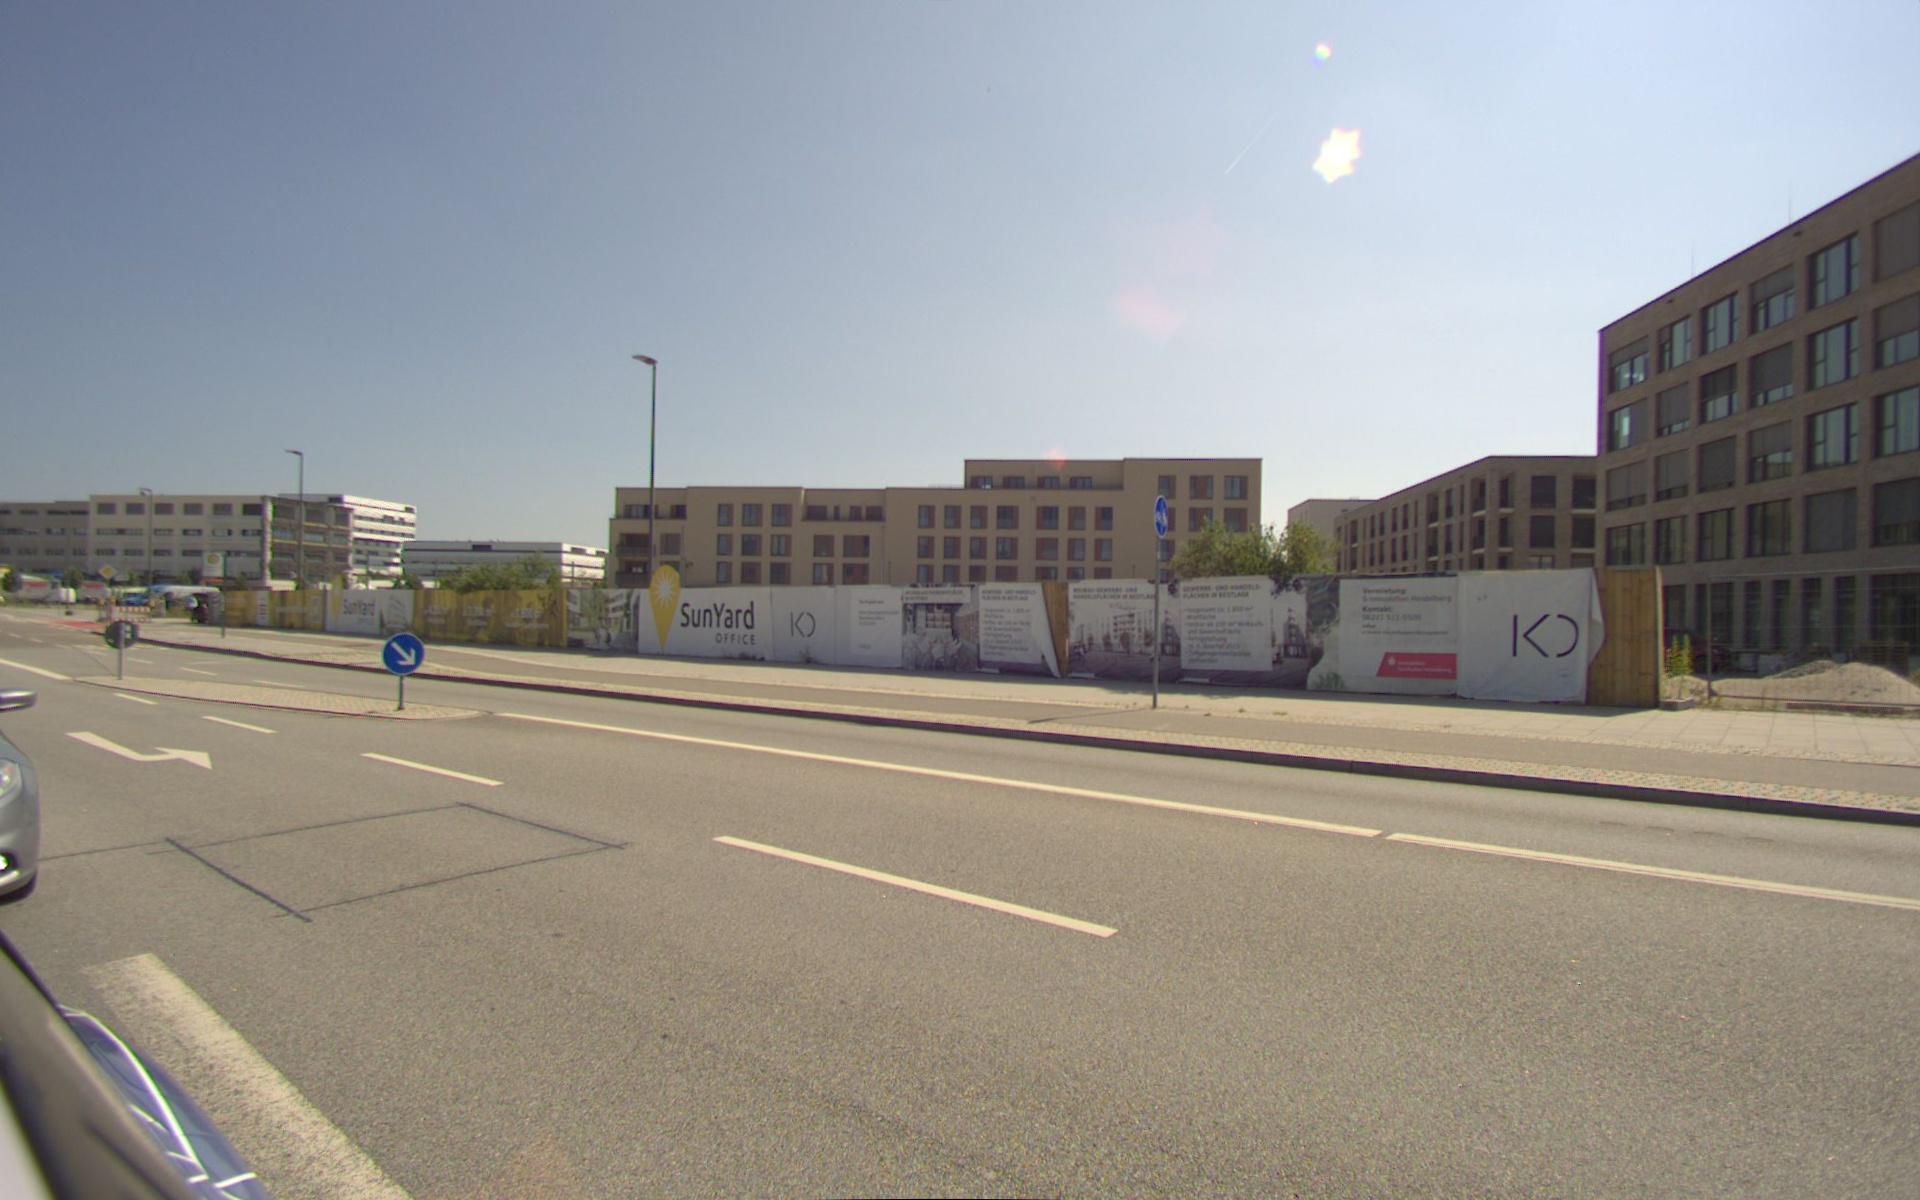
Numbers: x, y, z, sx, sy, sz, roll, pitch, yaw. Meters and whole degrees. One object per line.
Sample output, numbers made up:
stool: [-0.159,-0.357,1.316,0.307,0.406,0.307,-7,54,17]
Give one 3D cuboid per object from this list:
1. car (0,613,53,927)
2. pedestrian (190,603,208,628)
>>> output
car: [-6.276,0.783,5.322,4.134,1.390,1.762,-1,0,41]
pedestrian: [-48.919,0.989,65.024,0.610,1.598,0.703,-1,0,5]
